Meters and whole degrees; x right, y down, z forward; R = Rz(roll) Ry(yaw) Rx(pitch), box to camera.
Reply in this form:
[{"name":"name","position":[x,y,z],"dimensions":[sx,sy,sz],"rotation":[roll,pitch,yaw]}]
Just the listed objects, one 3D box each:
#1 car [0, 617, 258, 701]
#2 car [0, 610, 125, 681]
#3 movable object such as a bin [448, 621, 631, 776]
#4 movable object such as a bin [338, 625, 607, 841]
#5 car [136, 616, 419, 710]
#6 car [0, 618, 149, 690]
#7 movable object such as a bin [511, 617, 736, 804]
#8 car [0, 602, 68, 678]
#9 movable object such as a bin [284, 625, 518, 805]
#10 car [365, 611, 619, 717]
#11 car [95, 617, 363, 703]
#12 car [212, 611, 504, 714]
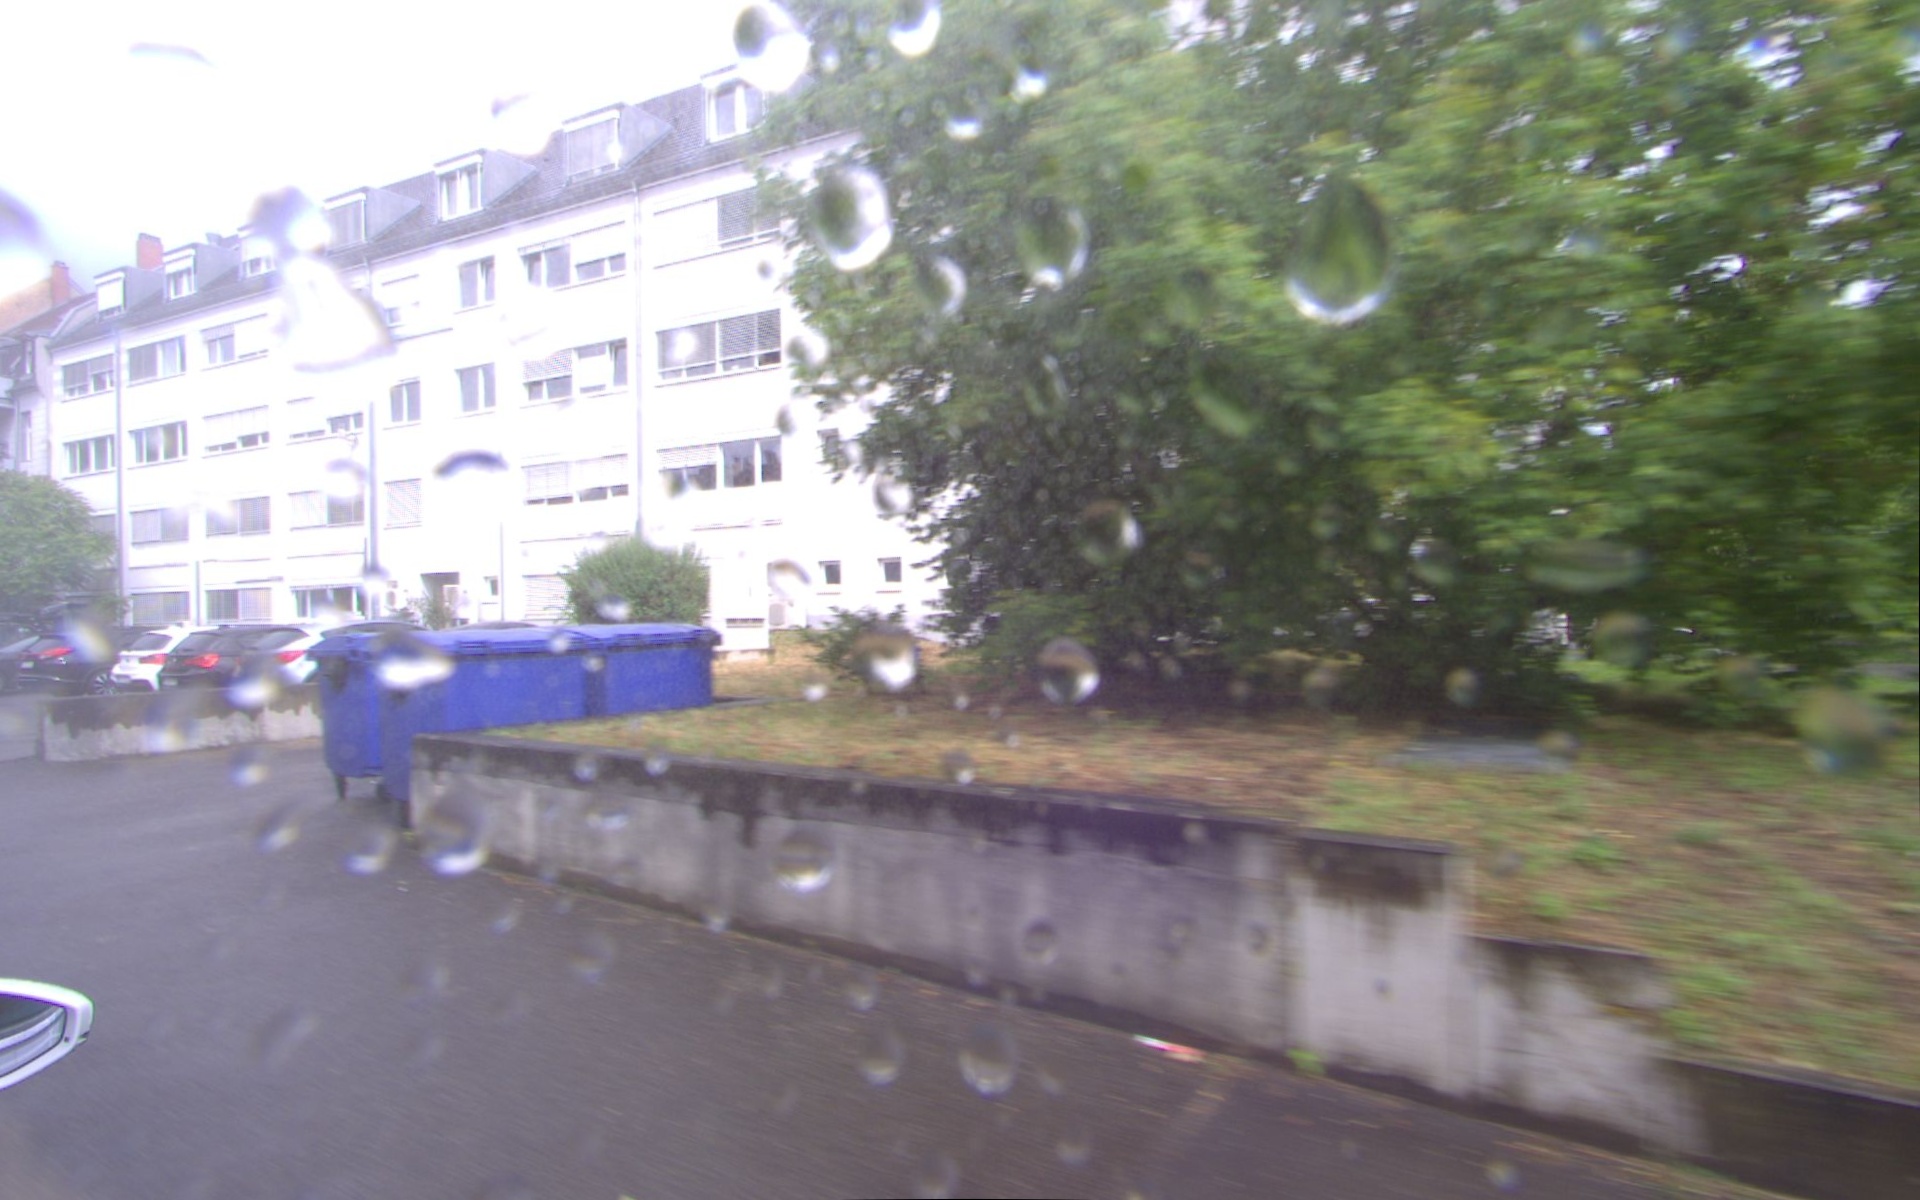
[{"name":"car","position":[-17.635,1.191,21.413],"dimensions":[1.790,1.533,3.908],"rotation":[-1,0,25]},{"name":"car","position":[-24.113,1.160,25.564],"dimensions":[1.791,1.710,3.902],"rotation":[-1,0,31]},{"name":"movable object such as a bin","position":[-3.973,0.874,9.497],"dimensions":[1.091,1.321,1.182],"rotation":[-1,0,33]},{"name":"movable object such as a bin","position":[-3.414,0.854,7.083],"dimensions":[1.081,1.309,1.333],"rotation":[-1,0,35]},{"name":"car","position":[-12.530,1.071,18.668],"dimensions":[1.745,1.422,3.983],"rotation":[-1,1,28]},{"name":"car","position":[-21.670,1.244,23.358],"dimensions":[1.725,1.533,3.905],"rotation":[-1,0,27]},{"name":"movable object such as a bin","position":[-2.746,0.834,8.238],"dimensions":[1.181,1.354,1.289],"rotation":[-1,0,35]},{"name":"car","position":[-26.879,1.083,26.294],"dimensions":[2.187,2.030,4.637],"rotation":[0,0,22]},{"name":"movable object such as a bin","position":[-4.651,0.888,8.390],"dimensions":[1.068,1.321,1.368],"rotation":[-1,0,34]},{"name":"car","position":[-7.549,0.964,16.430],"dimensions":[1.663,1.446,3.409],"rotation":[-2,0,30]},{"name":"car","position":[-14.514,1.125,20.122],"dimensions":[1.745,1.477,3.984],"rotation":[-1,0,27]},{"name":"car","position":[-10.243,0.984,17.358],"dimensions":[1.779,1.465,3.981],"rotation":[-1,0,29]}]
